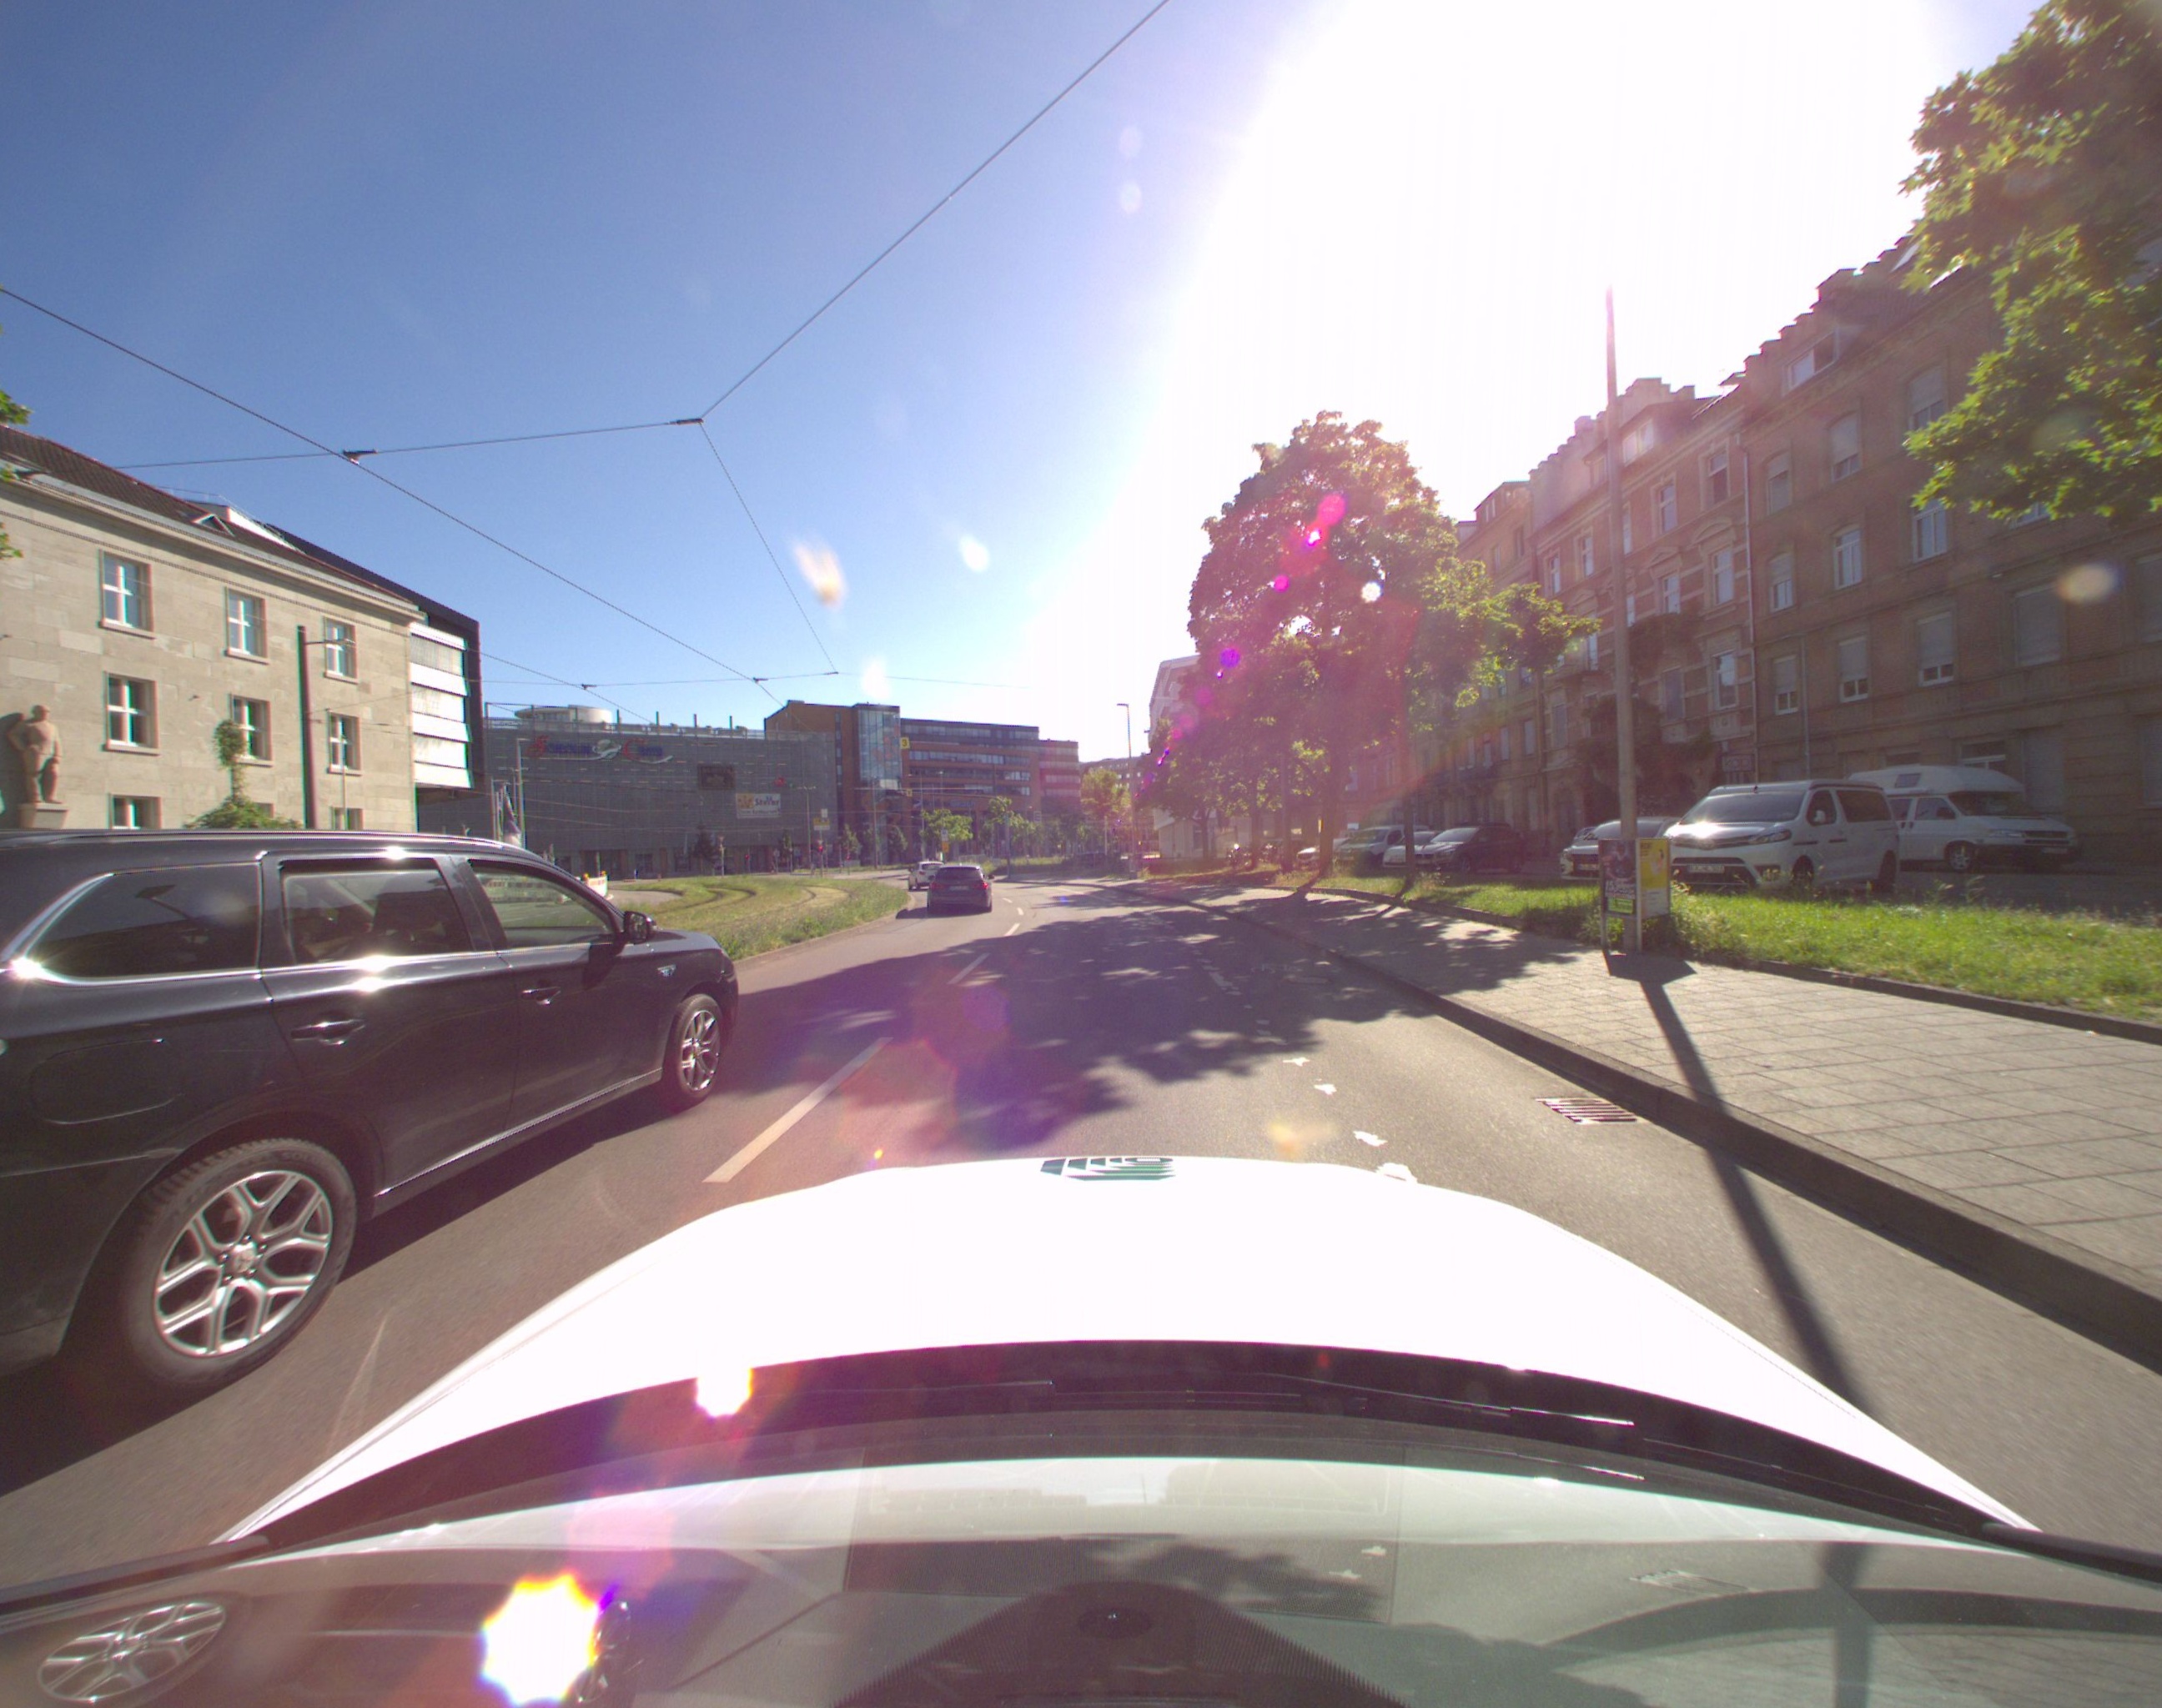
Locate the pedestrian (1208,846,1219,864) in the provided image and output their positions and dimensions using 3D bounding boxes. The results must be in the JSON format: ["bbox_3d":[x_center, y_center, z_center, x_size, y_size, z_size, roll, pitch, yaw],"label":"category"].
[{"bbox_3d":[11.317,0.079,69.479,0.634,1.577,0.776,-2,-1,39],"label":"pedestrian"}]

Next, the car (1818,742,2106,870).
[{"bbox_3d":[20.400,-1.015,19.235,1.985,2.585,4.517,-2,0,3],"label":"car"}]

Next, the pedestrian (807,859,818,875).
[{"bbox_3d":[-27.916,1.354,84.749,0.892,1.707,0.704,0,-1,-37],"label":"pedestrian"}]

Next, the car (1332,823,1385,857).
[{"bbox_3d":[21.008,-1.046,61.866,2.340,2.357,5.191,-2,0,2],"label":"car"}]

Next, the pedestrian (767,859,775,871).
[{"bbox_3d":[-45.280,1.638,119.067,0.861,1.738,0.744,0,-1,-43],"label":"pedestrian"}]

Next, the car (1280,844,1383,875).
[{"bbox_3d":[11.808,0.248,38.310,4.769,1.380,2.025,-1,0,-32],"label":"car"}]

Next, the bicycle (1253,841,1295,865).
[{"bbox_3d":[9.854,-0.046,41.641,1.938,1.180,0.900,-2,-1,0],"label":"bicycle"}]

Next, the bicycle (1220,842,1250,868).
[{"bbox_3d":[7.947,0.056,42.022,0.760,1.290,1.607,-2,0,41],"label":"bicycle"}]

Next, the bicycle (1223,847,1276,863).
[{"bbox_3d":[12.636,0.104,61.400,2.669,1.127,5.215,-1,0,-3],"label":"bicycle"}]

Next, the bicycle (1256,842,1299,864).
[{"bbox_3d":[10.861,-0.054,45.120,2.157,1.158,0.821,-1,-1,-3],"label":"bicycle"}]

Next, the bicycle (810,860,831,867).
[{"bbox_3d":[-44.095,1.639,137.865,3.382,1.077,1.106,1,-1,-31],"label":"bicycle"}]

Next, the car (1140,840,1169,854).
[{"bbox_3d":[11.206,-1.020,123.780,3.956,2.014,2.009,-1,-1,17],"label":"car"}]

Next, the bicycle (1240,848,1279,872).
[{"bbox_3d":[10.382,0.341,47.344,2.093,1.398,0.785,-1,-1,-10],"label":"bicycle"}]

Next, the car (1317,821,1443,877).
[{"bbox_3d":[11.950,-0.220,32.462,4.898,2.013,2.079,-3,-1,-33],"label":"car"}]

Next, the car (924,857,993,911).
[{"bbox_3d":[-3.533,0.888,24.217,1.731,1.423,4.458,2,-2,-5],"label":"car"}]

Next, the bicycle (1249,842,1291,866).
[{"bbox_3d":[9.875,0.001,42.614,1.950,1.192,0.841,-2,-1,1],"label":"bicycle"}]

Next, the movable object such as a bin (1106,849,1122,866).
[{"bbox_3d":[2.732,0.273,67.960,1.020,1.398,1.096,-1,0,21],"label":"movable object such as a bin"}]

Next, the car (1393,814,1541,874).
[{"bbox_3d":[12.520,-0.337,26.401,4.524,1.727,1.982,-3,-1,-28],"label":"car"}]

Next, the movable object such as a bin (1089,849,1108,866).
[{"bbox_3d":[1.464,0.264,68.011,1.097,1.398,1.328,-1,0,21],"label":"movable object such as a bin"}]

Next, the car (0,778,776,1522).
[{"bbox_3d":[-3.276,0.699,3.706,1.829,1.682,4.645,0,-1,2],"label":"car"}]

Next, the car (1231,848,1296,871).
[{"bbox_3d":[12.145,0.353,54.270,3.842,1.441,1.749,-1,0,-19],"label":"car"}]

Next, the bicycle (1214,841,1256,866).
[{"bbox_3d":[8.375,-0.019,44.323,2.089,1.365,0.786,-1,-1,-4],"label":"bicycle"}]

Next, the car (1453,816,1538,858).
[{"bbox_3d":[20.995,-0.830,41.453,1.986,1.977,4.726,-2,0,2],"label":"car"}]

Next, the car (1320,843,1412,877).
[{"bbox_3d":[12.397,0.253,35.398,3.627,1.380,1.906,-1,0,-32],"label":"car"}]

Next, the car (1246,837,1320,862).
[{"bbox_3d":[12.814,-0.281,51.586,4.484,1.565,1.919,-1,0,-30],"label":"car"}]

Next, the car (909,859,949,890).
[{"bbox_3d":[-7.711,1.046,41.120,1.635,1.423,3.761,2,-2,-16],"label":"car"}]

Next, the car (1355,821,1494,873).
[{"bbox_3d":[12.739,-0.269,30.165,4.893,1.648,2.081,-3,-1,-28],"label":"car"}]

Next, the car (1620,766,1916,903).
[{"bbox_3d":[11.964,-0.364,14.118,5.200,2.013,2.081,-3,-1,-28],"label":"car"}]

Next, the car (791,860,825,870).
[{"bbox_3d":[-40.599,1.657,121.236,4.522,1.495,1.478,-1,-1,-37],"label":"car"}]

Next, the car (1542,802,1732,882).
[{"bbox_3d":[11.745,-0.274,17.152,4.045,1.478,1.794,-3,-1,-32],"label":"car"}]

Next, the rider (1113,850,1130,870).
[{"bbox_3d":[2.451,0.371,49.174,0.497,1.176,1.684,-1,0,19],"label":"rider"}]

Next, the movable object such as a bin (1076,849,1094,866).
[{"bbox_3d":[0.306,0.310,68.069,1.059,1.398,1.311,-1,0,21],"label":"movable object such as a bin"}]
